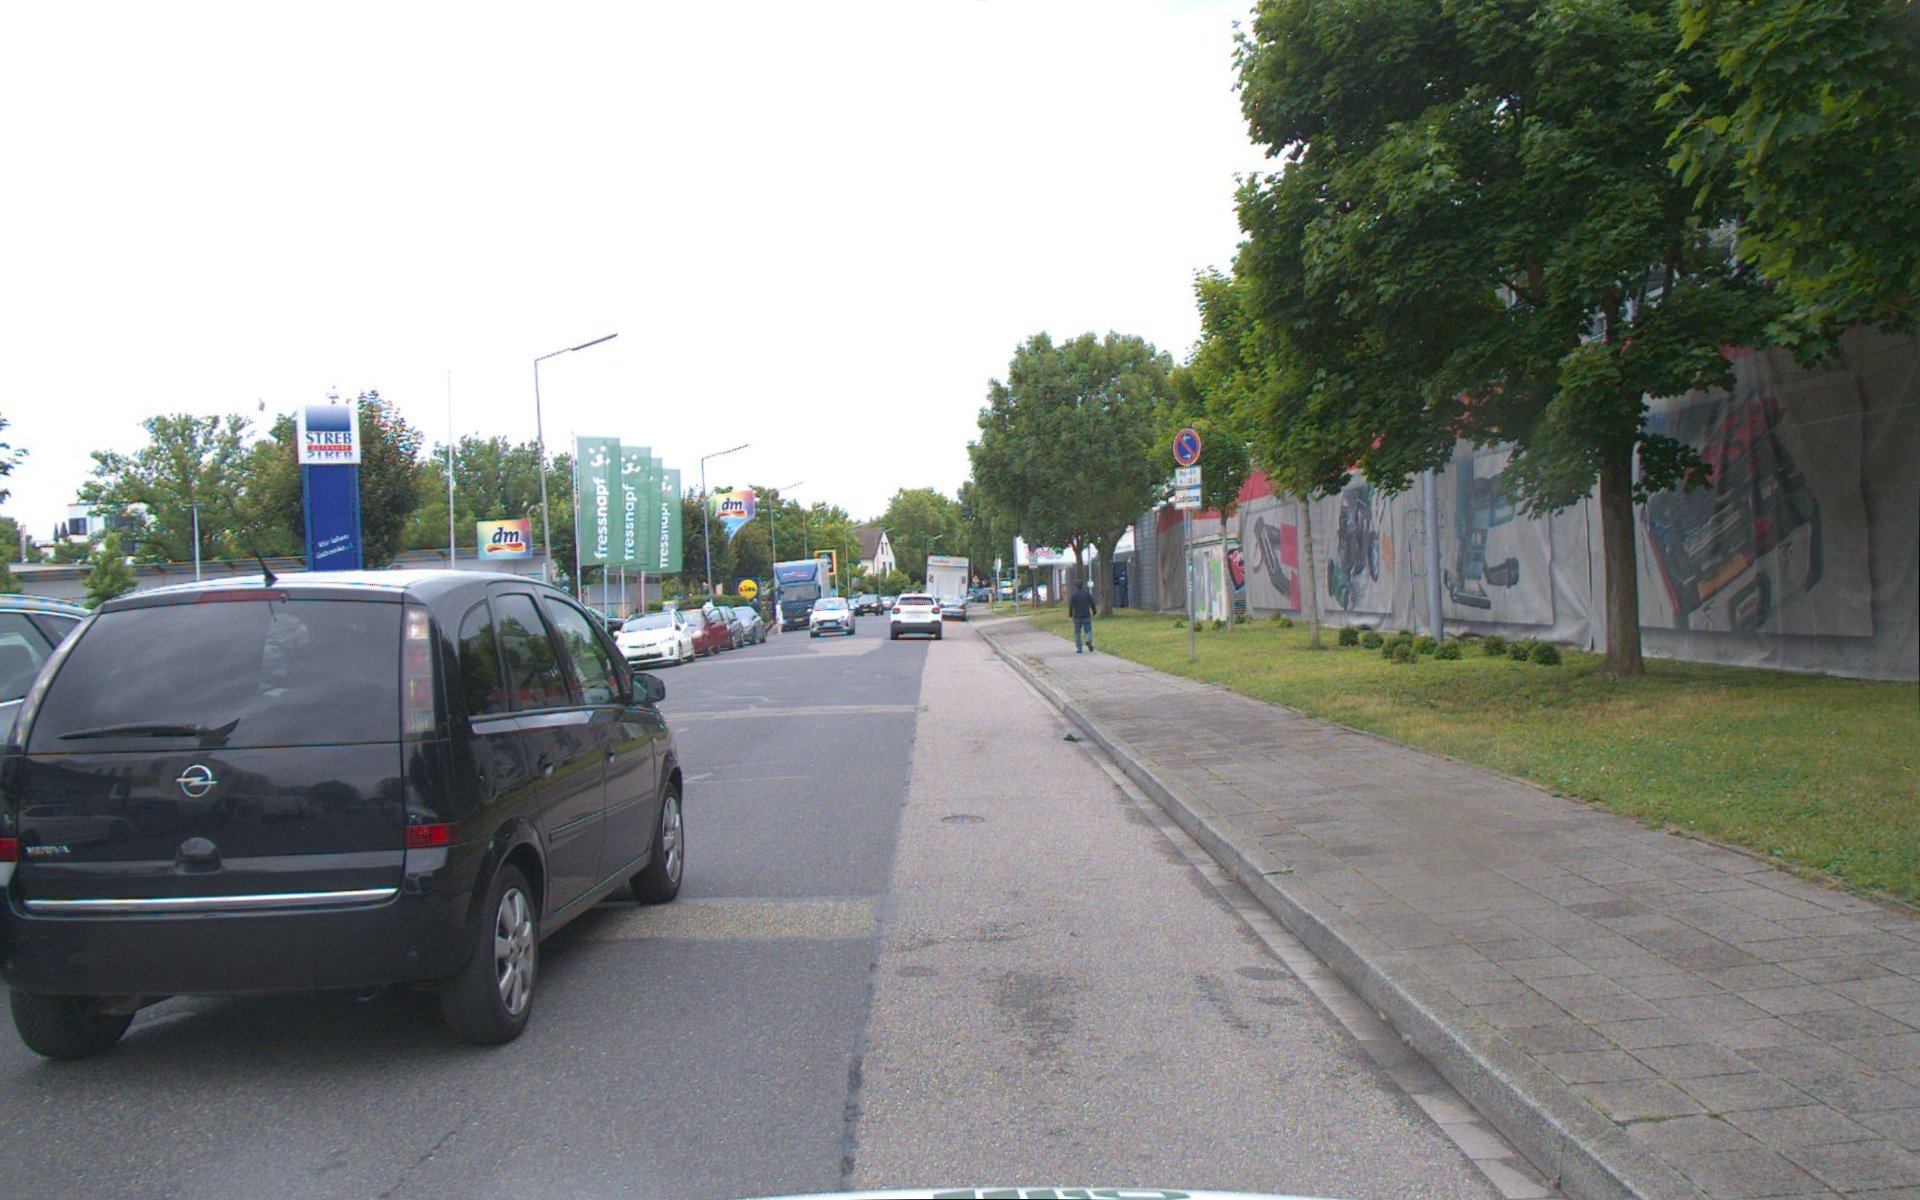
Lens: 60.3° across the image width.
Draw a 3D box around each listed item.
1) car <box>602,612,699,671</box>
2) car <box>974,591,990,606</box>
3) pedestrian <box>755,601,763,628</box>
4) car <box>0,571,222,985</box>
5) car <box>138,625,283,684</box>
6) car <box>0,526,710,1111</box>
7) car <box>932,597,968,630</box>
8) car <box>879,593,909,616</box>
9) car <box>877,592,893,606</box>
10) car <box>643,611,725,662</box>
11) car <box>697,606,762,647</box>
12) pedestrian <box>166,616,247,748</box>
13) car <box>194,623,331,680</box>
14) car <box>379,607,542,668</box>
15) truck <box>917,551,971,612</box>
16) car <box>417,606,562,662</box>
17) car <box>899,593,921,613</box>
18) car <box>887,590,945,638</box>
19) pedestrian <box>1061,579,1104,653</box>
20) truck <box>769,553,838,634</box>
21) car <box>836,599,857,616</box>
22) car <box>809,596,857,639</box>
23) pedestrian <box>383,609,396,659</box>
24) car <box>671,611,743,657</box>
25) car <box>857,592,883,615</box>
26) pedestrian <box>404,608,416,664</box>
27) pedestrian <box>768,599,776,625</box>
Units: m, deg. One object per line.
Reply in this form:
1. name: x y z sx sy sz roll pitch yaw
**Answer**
1. car: -8.377 1.086 45.016 1.859 1.391 4.000 -3 0 -1
2. car: 2.652 -0.218 200.168 1.848 1.713 4.254 -1 0 0
3. pedestrian: -11.849 0.843 97.396 0.394 1.558 0.485 -3 0 -7
4. car: -4.953 0.802 6.644 1.894 1.713 4.494 -4 0 -1
5. car: -25.202 1.808 55.710 3.906 1.698 1.876 -3 0 -1
6. car: -2.225 0.645 6.786 1.646 1.660 3.760 -3 0 2
7. car: -0.605 0.791 96.069 1.953 1.837 3.998 -1 0 -2
8. car: -4.416 0.277 111.324 1.899 1.390 3.999 -4 0 -1
9. car: -7.852 -0.079 173.712 1.510 1.389 3.427 -1 0 0
10. car: -8.574 1.094 51.626 1.859 1.391 3.999 -3 0 -1
11. car: -8.752 0.996 63.038 1.859 1.391 3.999 -3 0 -1
12. pedestrian: -10.281 1.105 22.582 0.760 1.745 0.696 -2 0 -5
13. car: -24.450 1.802 58.054 3.906 1.698 1.876 -3 0 -1
14. car: -14.207 1.050 47.218 4.125 1.488 1.949 -3 0 -9
15. truck: -1.100 -1.075 105.173 3.072 3.647 10.046 -1 0 -2
16. car: -14.769 1.055 52.118 4.056 1.488 1.896 -3 0 -6
17. car: -4.507 0.266 148.399 1.832 1.691 3.998 -2 0 -2
18. car: -1.477 0.462 56.812 1.848 1.558 4.254 -1 0 0
19. pedestrian: 2.825 0.373 38.243 0.900 1.663 0.853 -1 -1 1
20. truck: -8.516 -0.362 90.612 2.913 4.024 6.404 -4 0 0
21. car: -9.552 0.665 139.550 1.590 1.399 3.451 -1 0 -2
22. car: -5.046 0.697 66.127 1.566 1.554 3.528 -4 0 0
23. pedestrian: -18.346 1.086 53.187 0.324 1.597 0.502 -1 0 -14
24. car: -8.696 1.131 57.137 1.859 1.391 3.999 -3 0 -1
25. car: -7.114 0.282 130.631 1.953 1.713 3.998 -1 0 -2
26. pedestrian: -17.700 1.157 53.225 0.258 1.760 0.421 -3 0 -13
27. pedestrian: -11.498 0.754 101.203 0.394 1.558 0.485 -3 0 -7
